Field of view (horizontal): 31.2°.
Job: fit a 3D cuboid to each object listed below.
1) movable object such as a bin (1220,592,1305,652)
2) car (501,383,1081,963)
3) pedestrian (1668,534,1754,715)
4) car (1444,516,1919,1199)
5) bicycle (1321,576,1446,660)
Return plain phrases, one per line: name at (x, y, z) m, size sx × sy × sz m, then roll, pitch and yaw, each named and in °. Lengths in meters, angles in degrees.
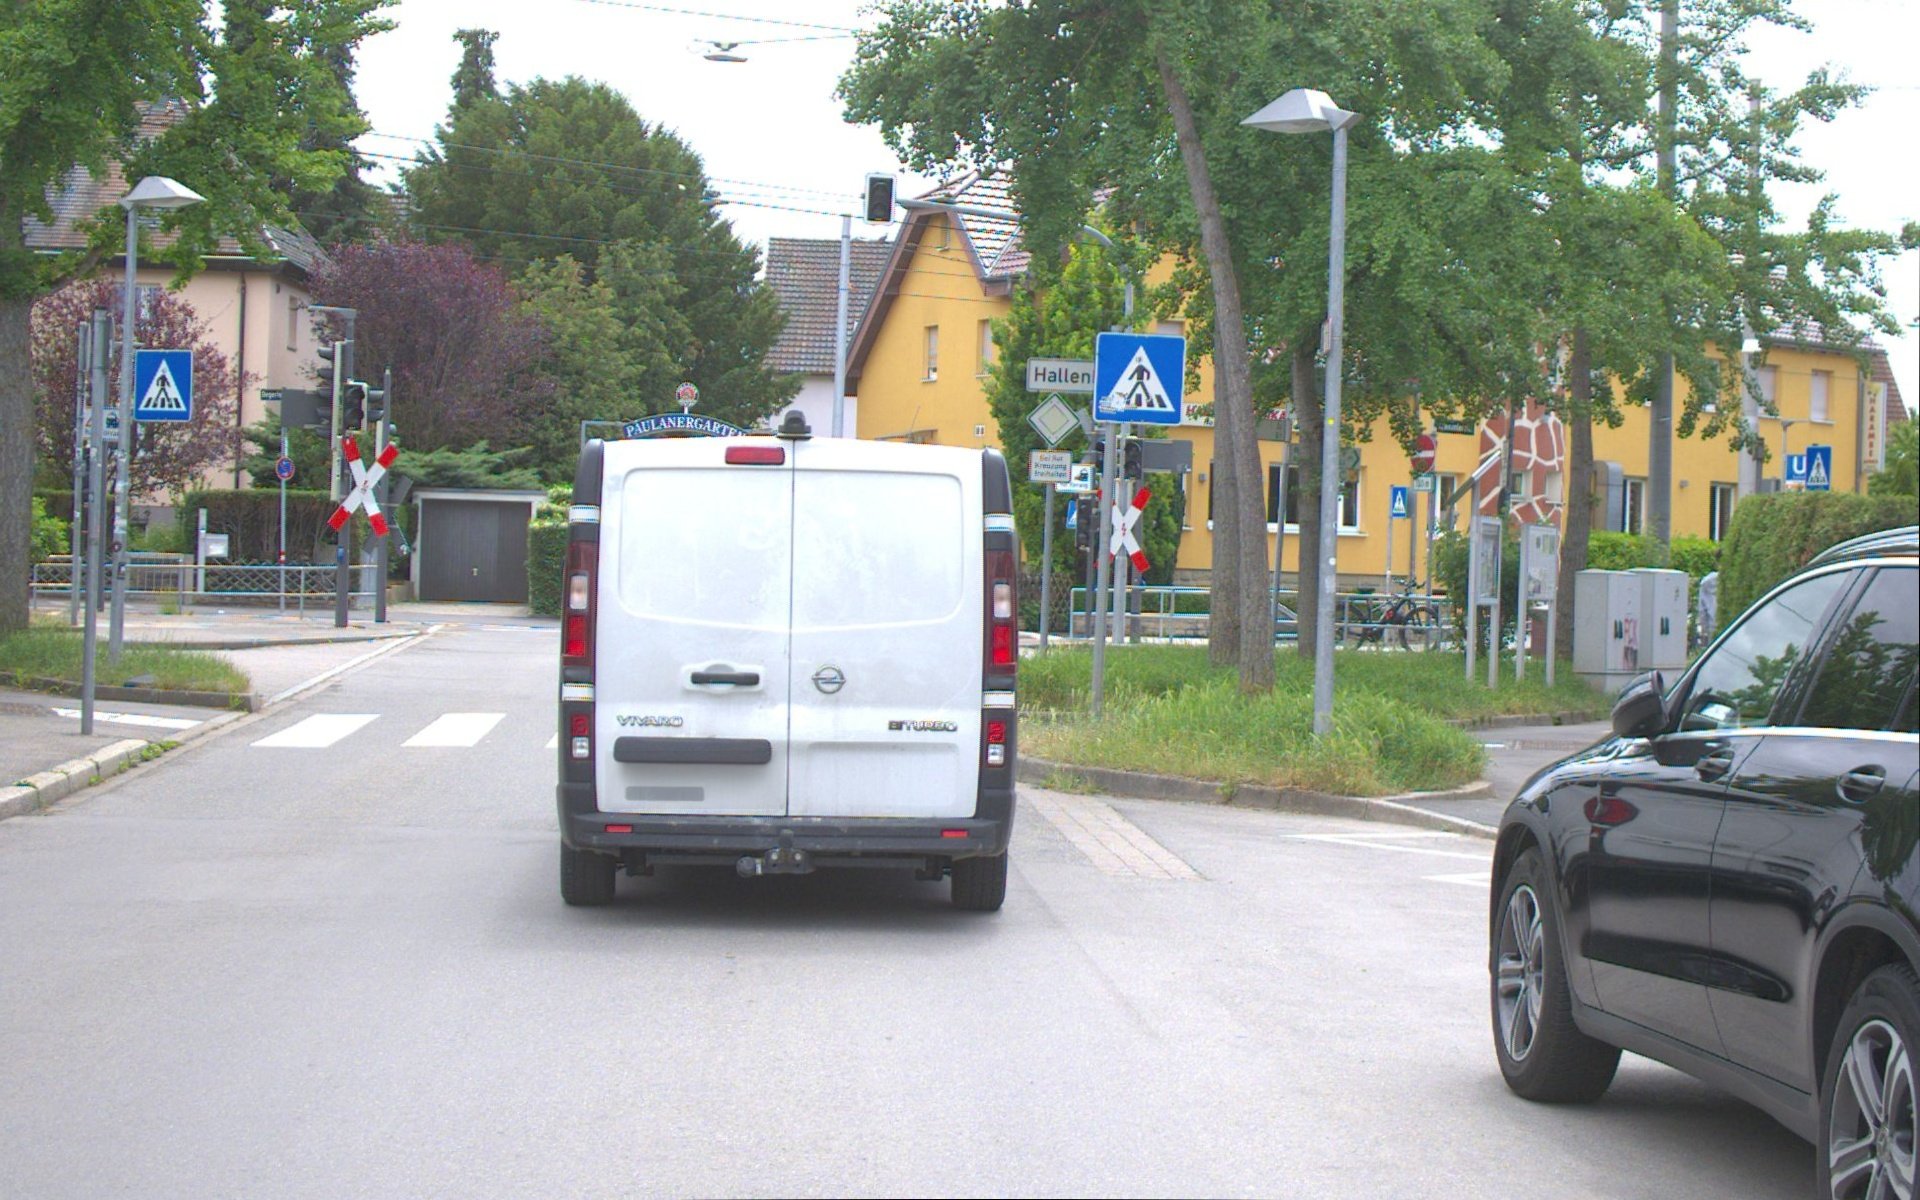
movable object such as a bin at (4.352, 0.313, 49.502) m, size 1.091 × 0.822 × 0.580 m, roll 2°, pitch 0°, yaw -8°
car at (-0.884, 0.240, 15.844) m, size 2.116 × 2.127 × 5.442 m, roll 3°, pitch 1°, yaw -5°
pedestrian at (8.070, 0.258, 36.926) m, size 0.625 × 1.908 × 0.829 m, roll 1°, pitch 1°, yaw 33°
car at (2.610, 0.676, 8.129) m, size 1.846 × 1.631 × 4.467 m, roll 3°, pitch 1°, yaw -5°
bicycle at (6.122, 0.258, 49.690) m, size 1.686 × 1.152 × 0.467 m, roll 2°, pitch 0°, yaw -11°
